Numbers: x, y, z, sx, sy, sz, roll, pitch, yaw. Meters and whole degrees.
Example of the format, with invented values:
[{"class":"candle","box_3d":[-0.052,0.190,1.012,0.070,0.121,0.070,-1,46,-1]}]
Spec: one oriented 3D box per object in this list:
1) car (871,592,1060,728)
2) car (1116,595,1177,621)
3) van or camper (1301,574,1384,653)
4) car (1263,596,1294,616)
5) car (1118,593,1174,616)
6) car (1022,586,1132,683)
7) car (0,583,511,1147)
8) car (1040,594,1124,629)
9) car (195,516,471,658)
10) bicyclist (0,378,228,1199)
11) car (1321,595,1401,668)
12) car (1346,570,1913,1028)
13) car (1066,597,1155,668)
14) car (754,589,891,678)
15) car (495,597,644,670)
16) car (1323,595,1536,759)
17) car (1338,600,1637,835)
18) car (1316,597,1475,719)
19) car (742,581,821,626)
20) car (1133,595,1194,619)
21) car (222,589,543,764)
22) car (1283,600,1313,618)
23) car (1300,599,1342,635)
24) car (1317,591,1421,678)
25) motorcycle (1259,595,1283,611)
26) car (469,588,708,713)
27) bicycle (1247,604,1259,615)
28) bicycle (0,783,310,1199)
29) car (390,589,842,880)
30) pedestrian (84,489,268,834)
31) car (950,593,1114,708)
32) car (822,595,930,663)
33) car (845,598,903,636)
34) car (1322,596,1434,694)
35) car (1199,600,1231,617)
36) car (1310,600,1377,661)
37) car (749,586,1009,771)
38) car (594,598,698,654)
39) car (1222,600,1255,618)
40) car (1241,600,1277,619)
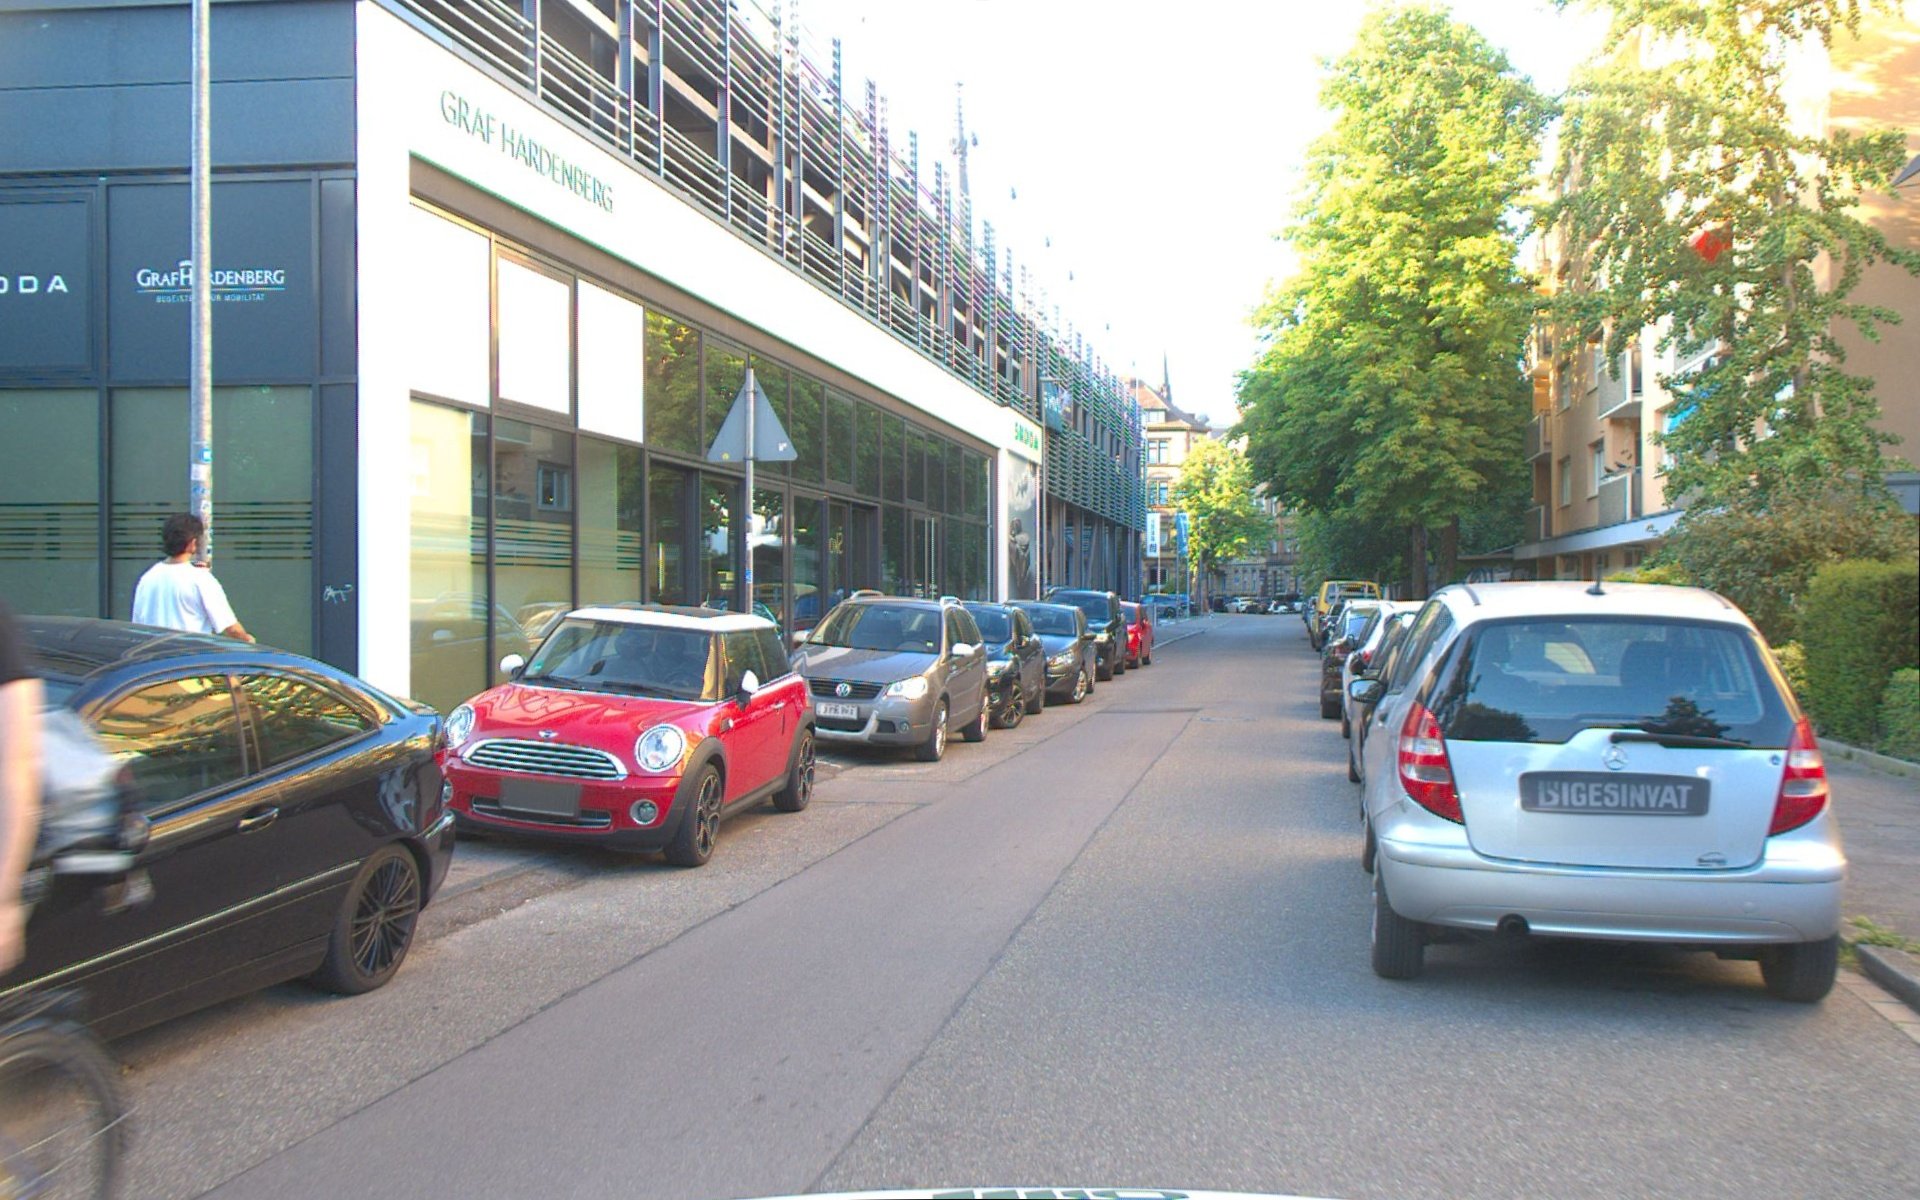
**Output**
[{"class":"car","box_3d":[0.178,0.698,21.465,1.692,1.427,4.010,5,1,10]},{"class":"car","box_3d":[12.743,0.534,112.850,4.041,1.646,1.915,2,1,9]},{"class":"van or camper","box_3d":[10.892,0.334,47.387,2.020,2.132,5.095,0,1,10]},{"class":"car","box_3d":[28.675,0.543,148.995,1.645,1.814,3.005,0,1,-13]},{"class":"car","box_3d":[13.495,0.299,120.043,3.959,1.501,1.922,2,1,7]},{"class":"car","box_3d":[2.393,0.621,32.879,1.661,1.787,4.407,0,0,11]},{"class":"car","box_3d":[-3.287,0.731,5.502,1.627,1.440,4.418,5,1,10]},{"class":"car","box_3d":[5.891,0.564,79.712,3.902,1.614,1.861,0,-2,9]},{"class":"car","box_3d":[-8.093,-0.165,21.726,1.661,1.687,3.741,0,0,11]},{"class":"bicyclist","box_3d":[-2.032,0.542,3.016,0.840,1.839,1.017,-1,0,9]},{"class":"car","box_3d":[8.958,0.683,37.165,1.575,1.537,3.481,0,0,11]},{"class":"car","box_3d":[2.830,0.687,7.868,1.771,1.603,3.888,0,0,11]},{"class":"car","box_3d":[3.535,0.712,38.380,1.661,1.532,3.794,0,0,11]},{"class":"car","box_3d":[-2.756,0.639,34.093,1.661,1.687,4.413,0,0,11]},{"class":"car","box_3d":[-8.334,0.683,35.626,1.661,1.459,3.923,0,0,11]},{"class":"car","box_3d":[4.646,0.685,16.832,1.771,1.441,3.899,0,0,11]},{"class":"car","box_3d":[3.812,0.749,12.557,1.680,1.444,4.031,0,0,11]},{"class":"car","box_3d":[5.814,0.708,22.514,1.771,1.441,4.630,0,0,11]},{"class":"car","box_3d":[-5.384,0.085,50.263,1.389,1.277,3.530,0,1,12]},{"class":"car","box_3d":[16.123,0.552,131.236,4.727,1.762,1.922,1,1,5]},{"class":"car","box_3d":[-6.118,0.730,18.024,1.559,1.679,3.880,0,0,11]},{"class":"car","box_3d":[29.686,0.795,145.255,1.645,1.552,2.758,0,1,-13]},{"class":"car","box_3d":[15.892,0.716,72.973,1.721,1.467,4.009,0,1,11]},{"class":"car","box_3d":[8.043,0.637,32.805,1.753,1.590,4.197,0,0,11]},{"class":"motorcycle","box_3d":[25.870,0.249,137.498,1.891,1.364,0.577,0,1,1]},{"class":"car","box_3d":[-4.975,0.623,22.763,1.661,1.541,4.196,0,0,11]},{"class":"bicycle","box_3d":[24.060,0.790,135.691,0.417,0.836,1.458,0,1,33]},{"class":"bicycle","box_3d":[-2.013,0.987,2.976,0.743,1.116,1.865,-2,-1,8]},{"class":"car","box_3d":[-2.050,0.718,11.053,1.627,1.435,3.930,5,1,8]},{"class":"pedestrian","box_3d":[-4.503,0.339,9.529,0.705,1.911,0.621,0,1,12]},{"class":"car","box_3d":[1.246,0.735,26.509,1.896,1.624,4.209,0,1,13]},{"class":"car","box_3d":[-1.918,0.641,38.923,1.661,1.499,3.785,0,0,11]},{"class":"car","box_3d":[-3.128,0.607,60.651,1.328,1.277,3.217,0,1,12]},{"class":"car","box_3d":[6.930,0.695,27.698,1.575,1.487,4.058,0,0,11]},{"class":"car","box_3d":[23.198,0.741,150.562,1.626,1.456,3.884,0,1,-13]},{"class":"car","box_3d":[9.758,0.742,42.178,1.572,1.406,4.004,0,1,13]},{"class":"car","box_3d":[-0.695,0.698,16.986,1.627,1.523,3.888,5,1,12]},{"class":"car","box_3d":[-7.663,0.612,40.592,1.389,1.277,3.217,0,1,12]},{"class":"car","box_3d":[24.536,0.794,145.823,1.625,1.456,4.157,0,1,-11]},{"class":"car","box_3d":[25.498,0.789,141.071,1.626,1.456,3.978,0,1,-12]}]
